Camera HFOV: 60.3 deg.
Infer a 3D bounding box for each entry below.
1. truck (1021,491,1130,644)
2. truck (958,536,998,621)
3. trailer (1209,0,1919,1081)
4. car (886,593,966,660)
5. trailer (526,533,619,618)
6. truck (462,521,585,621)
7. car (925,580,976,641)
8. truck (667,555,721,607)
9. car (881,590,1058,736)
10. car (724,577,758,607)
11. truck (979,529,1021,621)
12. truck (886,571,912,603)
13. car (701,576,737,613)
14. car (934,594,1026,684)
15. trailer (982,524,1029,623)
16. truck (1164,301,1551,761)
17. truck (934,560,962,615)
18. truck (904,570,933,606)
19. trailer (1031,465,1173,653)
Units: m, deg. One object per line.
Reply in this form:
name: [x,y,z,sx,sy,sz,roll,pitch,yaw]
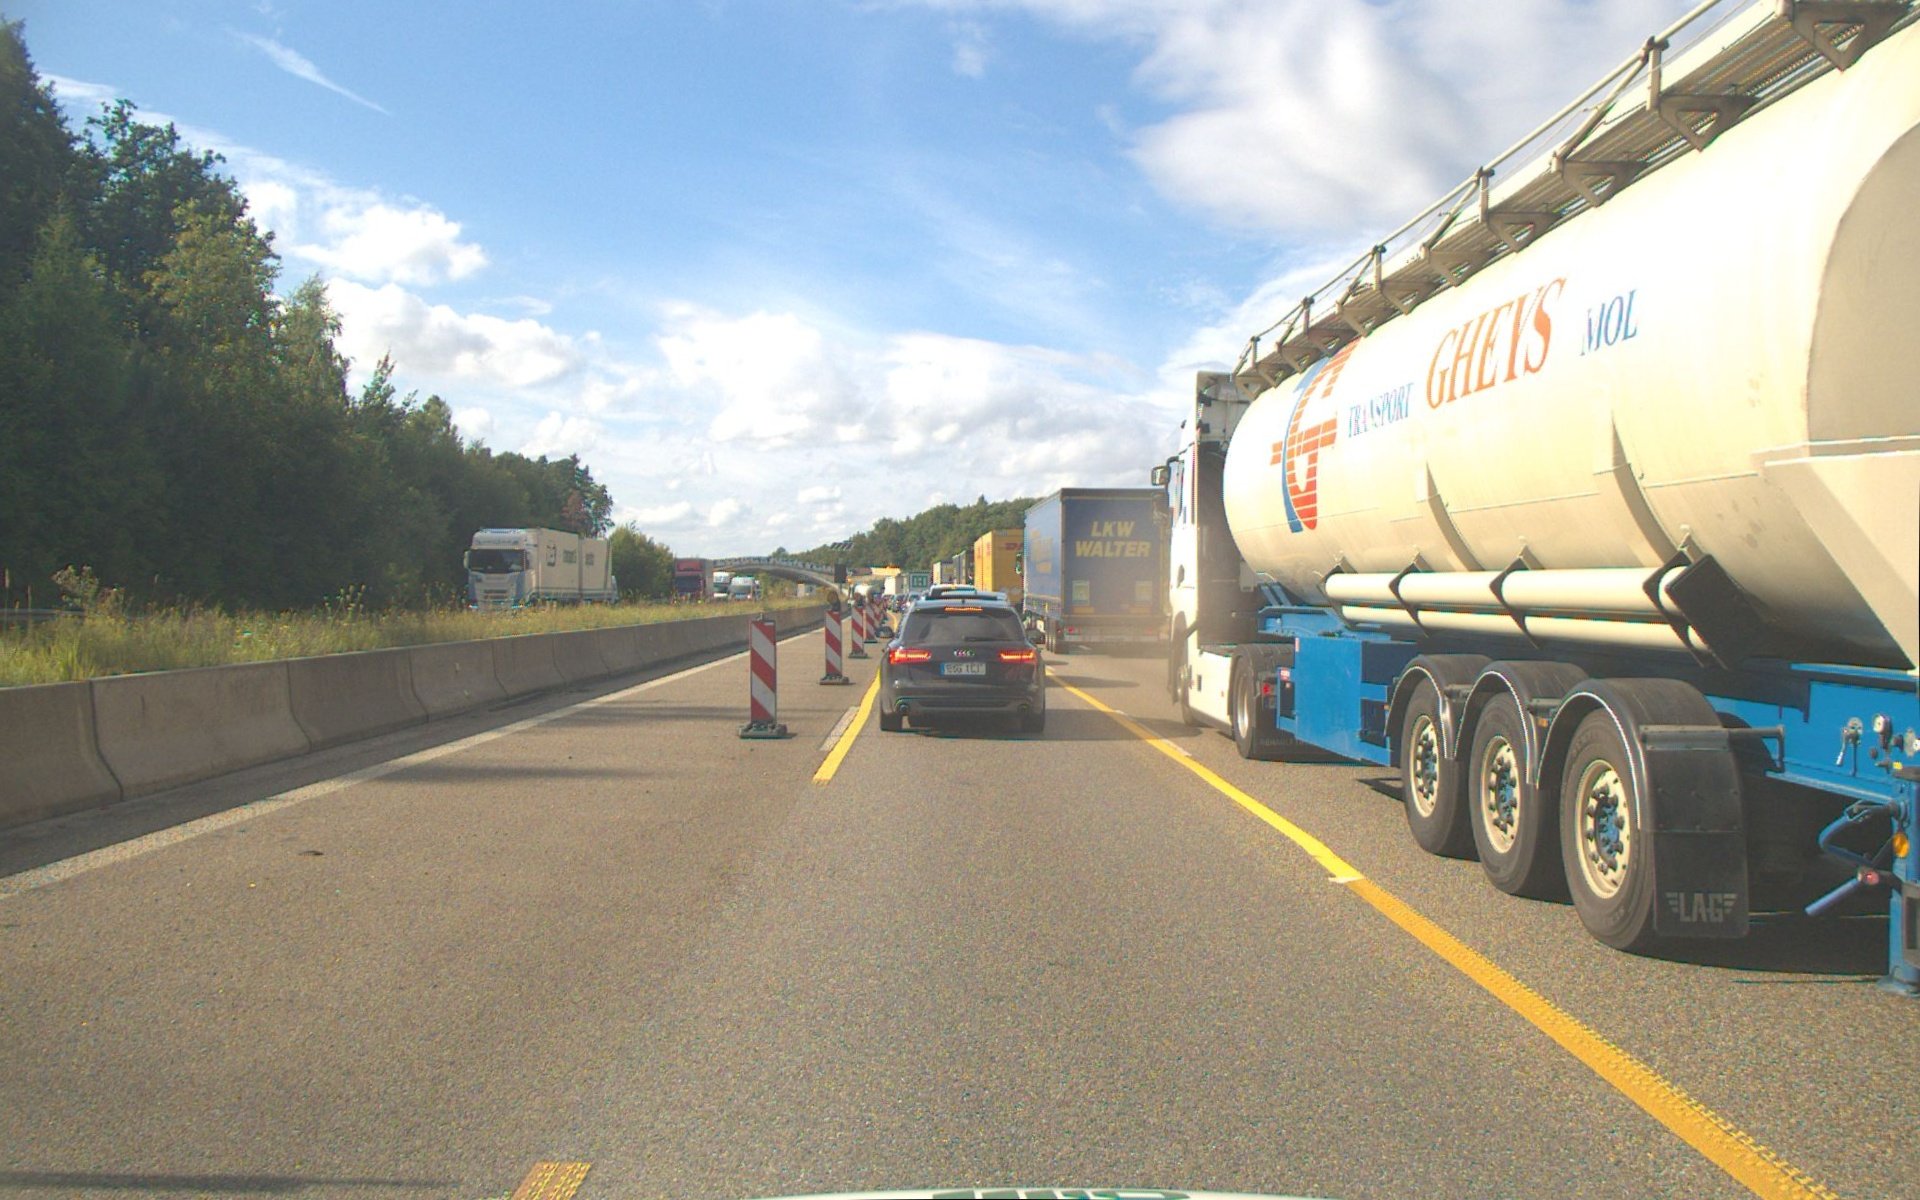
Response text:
truck: [3.539,-0.937,52.531,2.749,4.446,7.790,1,0,-1]
truck: [1.052,-1.275,102.015,1.953,5.000,9.558,1,0,-2]
trailer: [4.001,-0.610,10.934,2.590,4.012,12.595,1,0,-1]
car: [-0.751,0.580,37.697,1.716,1.421,3.607,1,0,-1]
trailer: [-19.389,-1.155,83.263,2.734,3.992,8.486,1,0,-1]
truck: [-19.221,-1.164,73.587,2.726,4.054,10.859,1,0,-1]
car: [-0.313,0.346,53.117,1.549,1.869,3.111,1,0,-1]
truck: [-21.654,-1.490,135.159,2.743,4.062,10.184,1,0,-1]
car: [0.076,0.642,19.165,1.811,1.489,3.999,1,0,-1]
car: [-19.030,-0.718,143.752,2.116,2.494,6.330,1,0,-1]
truck: [1.769,-1.077,74.061,1.577,3.965,4.071,1,0,-2]
truck: [-8.443,-1.800,227.594,3.239,4.248,9.695,1,0,-4]
car: [-23.469,-0.497,161.292,2.436,3.429,7.450,1,0,-1]
car: [0.313,0.649,28.968,1.493,1.464,3.284,1,0,-1]
trailer: [1.880,-1.052,70.074,1.584,3.987,6.487,1,0,-2]
truck: [3.901,-0.598,17.598,2.605,4.041,5.777,1,0,-1]
truck: [-1.008,-0.958,134.105,2.094,4.332,7.069,1,0,-1]
truck: [-5.031,-1.401,197.488,3.238,4.248,9.697,0,0,-3]
trailer: [3.635,-0.958,44.973,2.748,4.490,10.430,1,0,-1]
